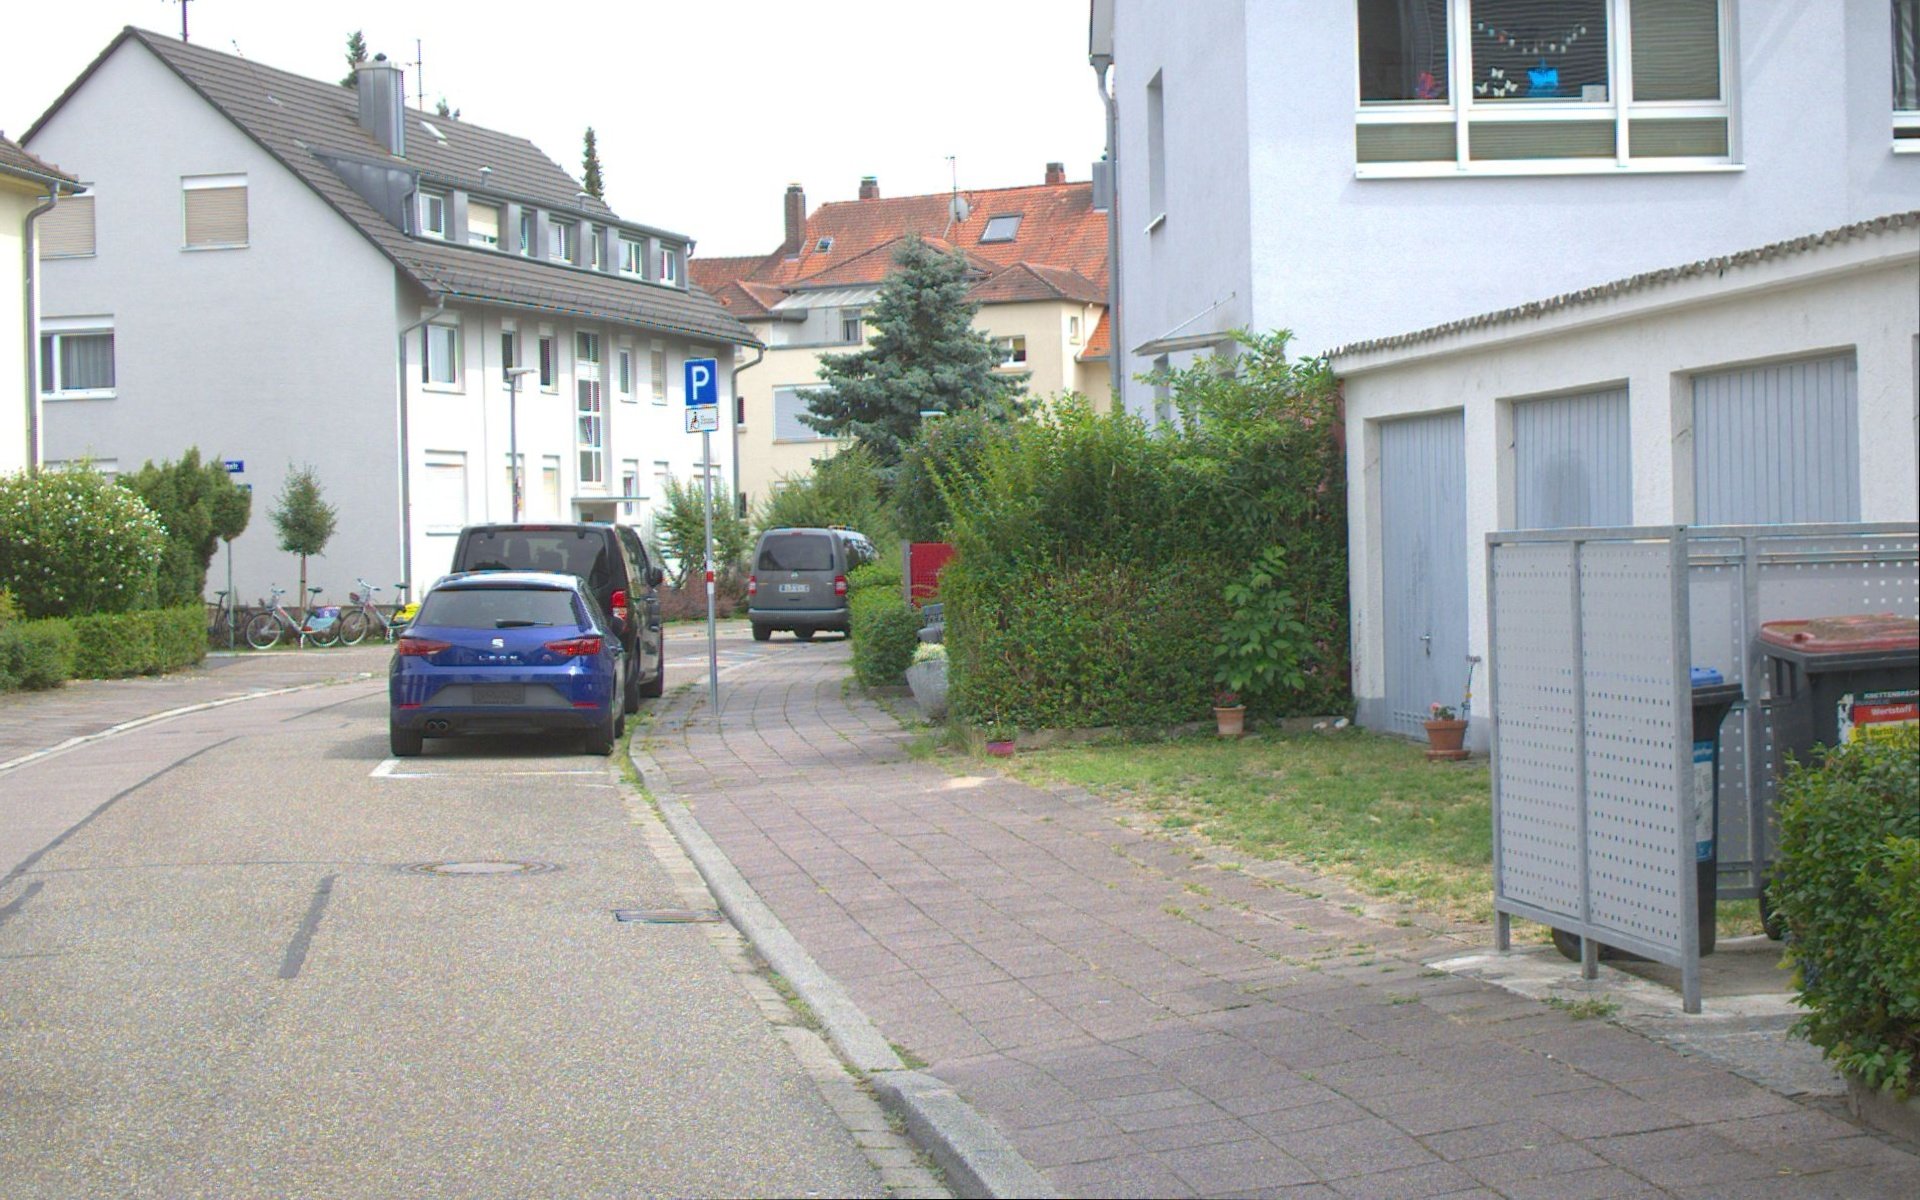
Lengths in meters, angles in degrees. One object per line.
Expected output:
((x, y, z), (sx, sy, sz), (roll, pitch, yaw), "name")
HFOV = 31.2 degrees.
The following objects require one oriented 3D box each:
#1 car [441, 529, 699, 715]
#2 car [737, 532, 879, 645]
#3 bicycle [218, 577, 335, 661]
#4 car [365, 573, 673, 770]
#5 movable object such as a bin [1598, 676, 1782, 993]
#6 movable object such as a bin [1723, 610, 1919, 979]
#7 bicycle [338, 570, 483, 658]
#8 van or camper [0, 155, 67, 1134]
((-3.916, 0.245, 35.210), (1.854, 1.736, 4.345), (-2, -1, 4), "car")
((-2.473, -0.155, 56.915), (1.854, 1.736, 4.345), (-2, -1, 4), "car")
((-11.611, 0.324, 58.371), (1.833, 1.368, 0.671), (-1, -1, -20), "bicycle")
((-3.506, 0.574, 28.013), (1.723, 1.447, 3.999), (-2, -1, 4), "car")
((2.320, 0.734, 10.957), (0.389, 0.970, 0.515), (-1, -1, -8), "movable object such as a bin")
((2.890, 0.609, 11.079), (0.579, 1.134, 0.755), (-1, -1, -8), "movable object such as a bin")
((-9.515, 0.236, 59.516), (2.345, 1.456, 0.719), (-1, -1, -30), "bicycle")
((-3.661, 0.086, 7.287), (2.404, 2.716, 6.163), (-2, -1, -5), "van or camper")
